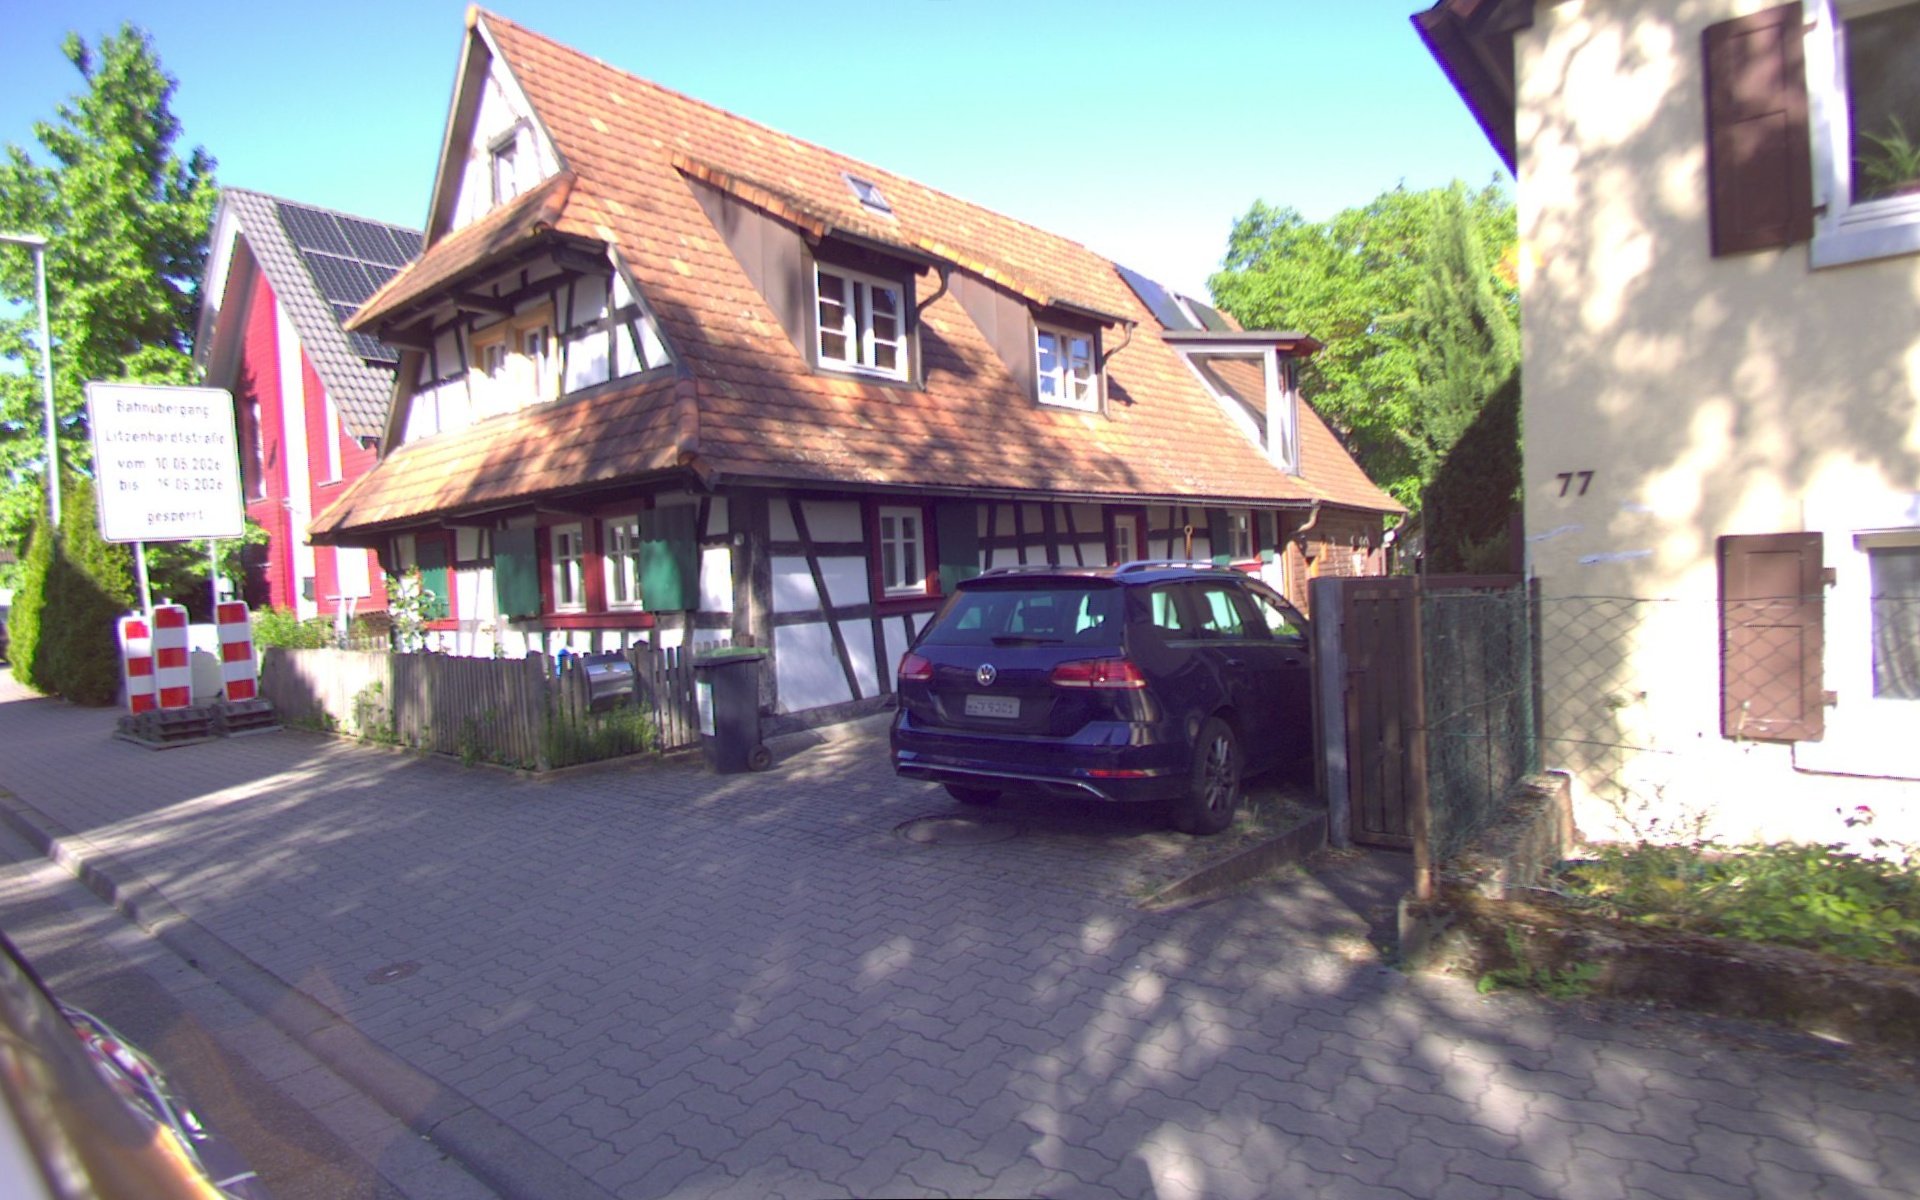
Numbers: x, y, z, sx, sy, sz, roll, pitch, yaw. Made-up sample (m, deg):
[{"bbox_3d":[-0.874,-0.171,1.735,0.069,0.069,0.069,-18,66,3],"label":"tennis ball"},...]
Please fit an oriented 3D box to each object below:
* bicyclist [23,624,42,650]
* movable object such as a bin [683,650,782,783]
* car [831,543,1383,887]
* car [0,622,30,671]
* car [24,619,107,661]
[{"bbox_3d":[-48.239,1.903,52.663,0.573,1.330,0.610,-1,0,-28],"label":"bicyclist"},{"bbox_3d":[-1.699,0.841,7.537,0.575,0.904,0.557,-1,-1,-29],"label":"movable object such as a bin"},{"bbox_3d":[1.260,0.499,6.560,1.844,1.473,4.122,-2,-1,35],"label":"car"},{"bbox_3d":[-35.195,1.684,36.443,1.807,1.684,4.364,0,-2,-34],"label":"car"},{"bbox_3d":[-40.807,1.785,46.291,1.806,1.803,4.366,0,-1,-27],"label":"car"}]
